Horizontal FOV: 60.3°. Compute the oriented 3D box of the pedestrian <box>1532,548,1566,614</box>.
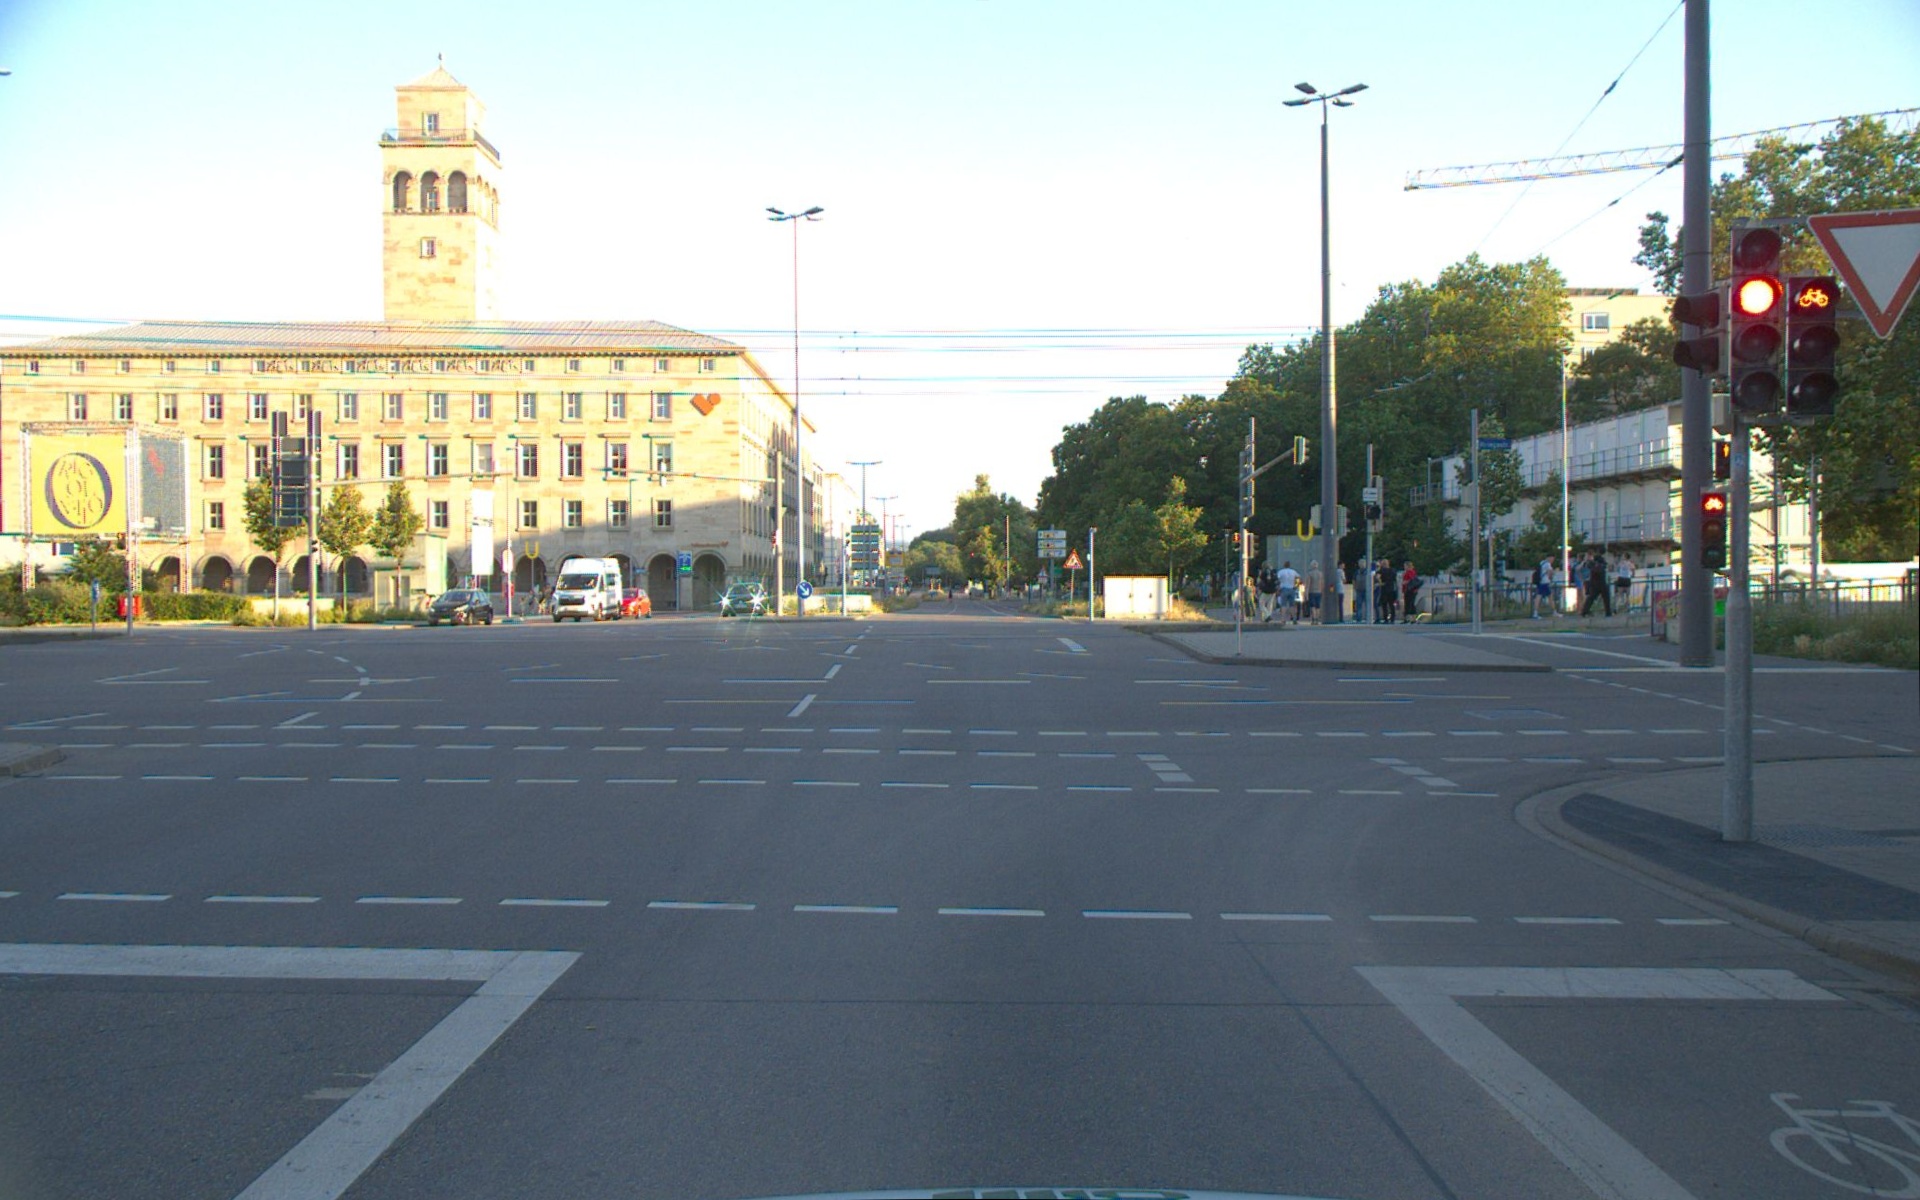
[{"bbox_3d":[15.732,-0.513,44.162,0.652,1.755,0.713,0,1,1],"label":"pedestrian"}]

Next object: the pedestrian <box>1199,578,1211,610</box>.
[{"bbox_3d":[13.991,-0.332,94.496,0.628,1.791,0.525,0,1,7],"label":"pedestrian"}]

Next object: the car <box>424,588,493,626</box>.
[{"bbox_3d":[-21.170,0.276,69.947,1.786,1.491,4.156,-1,1,-2],"label":"car"}]

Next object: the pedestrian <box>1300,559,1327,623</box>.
[{"bbox_3d":[9.796,-0.263,45.823,0.695,1.755,0.669,0,1,13],"label":"pedestrian"}]

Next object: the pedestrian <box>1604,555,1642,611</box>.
[{"bbox_3d":[17.635,-0.447,43.981,0.705,1.466,0.670,-1,1,-33],"label":"pedestrian"}]

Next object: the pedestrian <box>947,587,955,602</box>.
[{"bbox_3d":[-1.065,-0.613,194.778,0.888,1.700,1.306,-1,1,-2],"label":"pedestrian"}]

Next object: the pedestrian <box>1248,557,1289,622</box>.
[{"bbox_3d":[8.369,-0.290,44.865,0.701,1.755,0.909,-1,1,-22],"label":"pedestrian"}]

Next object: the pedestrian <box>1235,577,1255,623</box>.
[{"bbox_3d":[10.517,-0.018,61.005,0.548,1.683,0.902,0,1,20],"label":"pedestrian"}]

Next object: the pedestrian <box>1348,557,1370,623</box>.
[{"bbox_3d":[11.059,-0.283,45.848,0.560,1.822,0.639,0,1,13],"label":"pedestrian"}]

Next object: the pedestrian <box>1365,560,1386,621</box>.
[{"bbox_3d":[11.892,-0.276,47.307,0.560,1.708,0.639,0,1,13],"label":"pedestrian"}]

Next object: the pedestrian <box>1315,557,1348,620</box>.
[{"bbox_3d":[10.503,-0.336,46.806,0.892,1.755,0.714,0,1,11],"label":"pedestrian"}]

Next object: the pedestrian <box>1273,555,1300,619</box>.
[{"bbox_3d":[9.078,-0.371,46.002,0.695,1.755,0.669,0,1,8],"label":"pedestrian"}]

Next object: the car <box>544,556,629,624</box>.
[{"bbox_3d":[-16.239,-0.459,72.233,2.232,2.824,6.085,-1,1,1],"label":"car"}]

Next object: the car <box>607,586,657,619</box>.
[{"bbox_3d":[-16.019,0.085,80.934,1.703,1.513,4.000,-1,1,-1],"label":"car"}]

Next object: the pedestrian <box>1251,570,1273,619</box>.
[{"bbox_3d":[11.093,-0.202,60.783,0.665,1.788,0.902,0,1,20],"label":"pedestrian"}]

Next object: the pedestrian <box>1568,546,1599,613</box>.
[{"bbox_3d":[16.393,-0.538,43.503,0.696,1.755,0.669,0,1,16],"label":"pedestrian"}]

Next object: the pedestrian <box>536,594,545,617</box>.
[{"bbox_3d":[-23.985,0.318,94.546,0.412,1.323,0.459,1,-1,-6],"label":"pedestrian"}]

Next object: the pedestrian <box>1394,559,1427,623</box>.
[{"bbox_3d":[12.593,-0.257,46.236,0.826,1.764,0.706,0,1,11],"label":"pedestrian"}]

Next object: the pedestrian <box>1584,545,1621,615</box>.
[{"bbox_3d":[16.372,-0.508,42.166,0.652,1.755,0.713,0,1,1],"label":"pedestrian"}]

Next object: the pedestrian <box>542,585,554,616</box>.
[{"bbox_3d":[-23.917,0.029,95.981,0.609,1.774,0.459,1,-1,-6],"label":"pedestrian"}]

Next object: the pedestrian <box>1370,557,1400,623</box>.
[{"bbox_3d":[11.785,-0.286,45.864,0.788,1.822,0.801,0,1,13],"label":"pedestrian"}]

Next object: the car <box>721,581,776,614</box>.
[{"bbox_3d":[-9.250,-0.122,72.488,1.785,1.365,4.001,0,1,1],"label":"car"}]

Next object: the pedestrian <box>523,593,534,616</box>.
[{"bbox_3d":[-24.866,0.249,95.265,0.496,1.323,0.700,1,-1,-6],"label":"pedestrian"}]

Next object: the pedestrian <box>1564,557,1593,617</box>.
[{"bbox_3d":[16.821,-0.364,45.003,0.559,1.620,0.536,-1,0,-1],"label":"pedestrian"}]
